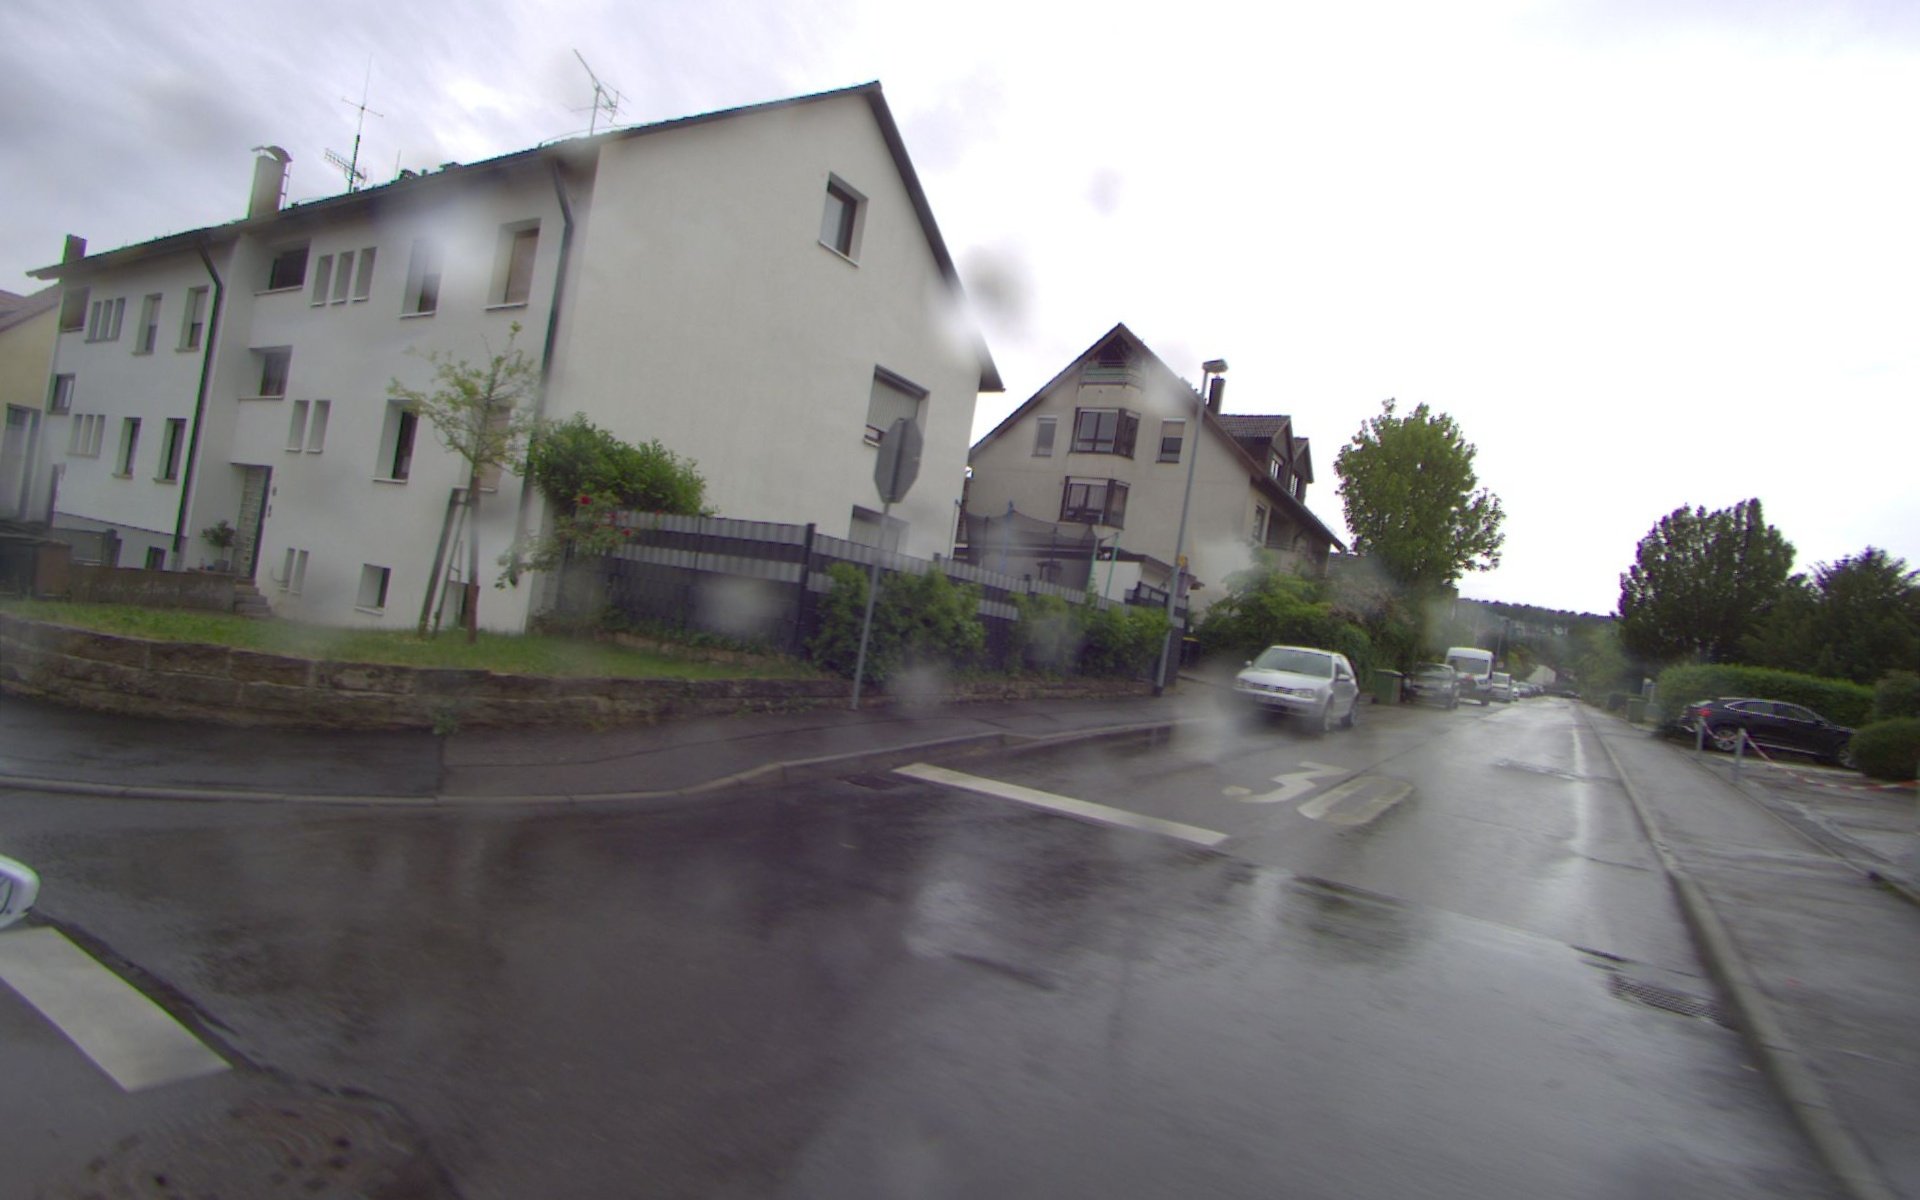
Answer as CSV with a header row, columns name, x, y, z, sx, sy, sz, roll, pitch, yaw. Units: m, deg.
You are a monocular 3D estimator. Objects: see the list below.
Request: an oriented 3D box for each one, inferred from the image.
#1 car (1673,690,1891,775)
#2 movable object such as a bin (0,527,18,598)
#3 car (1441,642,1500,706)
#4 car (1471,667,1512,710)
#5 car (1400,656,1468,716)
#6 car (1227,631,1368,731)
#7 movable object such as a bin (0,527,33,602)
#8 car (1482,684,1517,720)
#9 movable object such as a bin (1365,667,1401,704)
name,x,y,z,sx,sy,sz,roll,pitch,yaw
car,21.936,3.540,27.086,4.160,1.395,1.703,9,-2,30
movable object such as a bin,-14.830,-0.616,15.231,0.621,1.039,0.546,9,-2,32
car,22.815,3.353,45.108,1.949,2.291,4.003,10,-3,27
car,35.244,5.886,66.747,1.949,2.291,4.003,10,-3,27
car,16.665,3.063,35.335,1.848,1.568,4.003,10,-3,27
car,6.358,1.530,18.679,1.581,1.472,3.775,7,-1,31
movable object such as a bin,-14.265,-0.555,14.880,0.621,1.039,0.529,9,-2,32
car,42.762,8.113,79.772,1.949,2.291,4.003,10,-3,27
movable object such as a bin,13.020,2.631,30.966,0.818,0.989,0.659,9,-2,29
